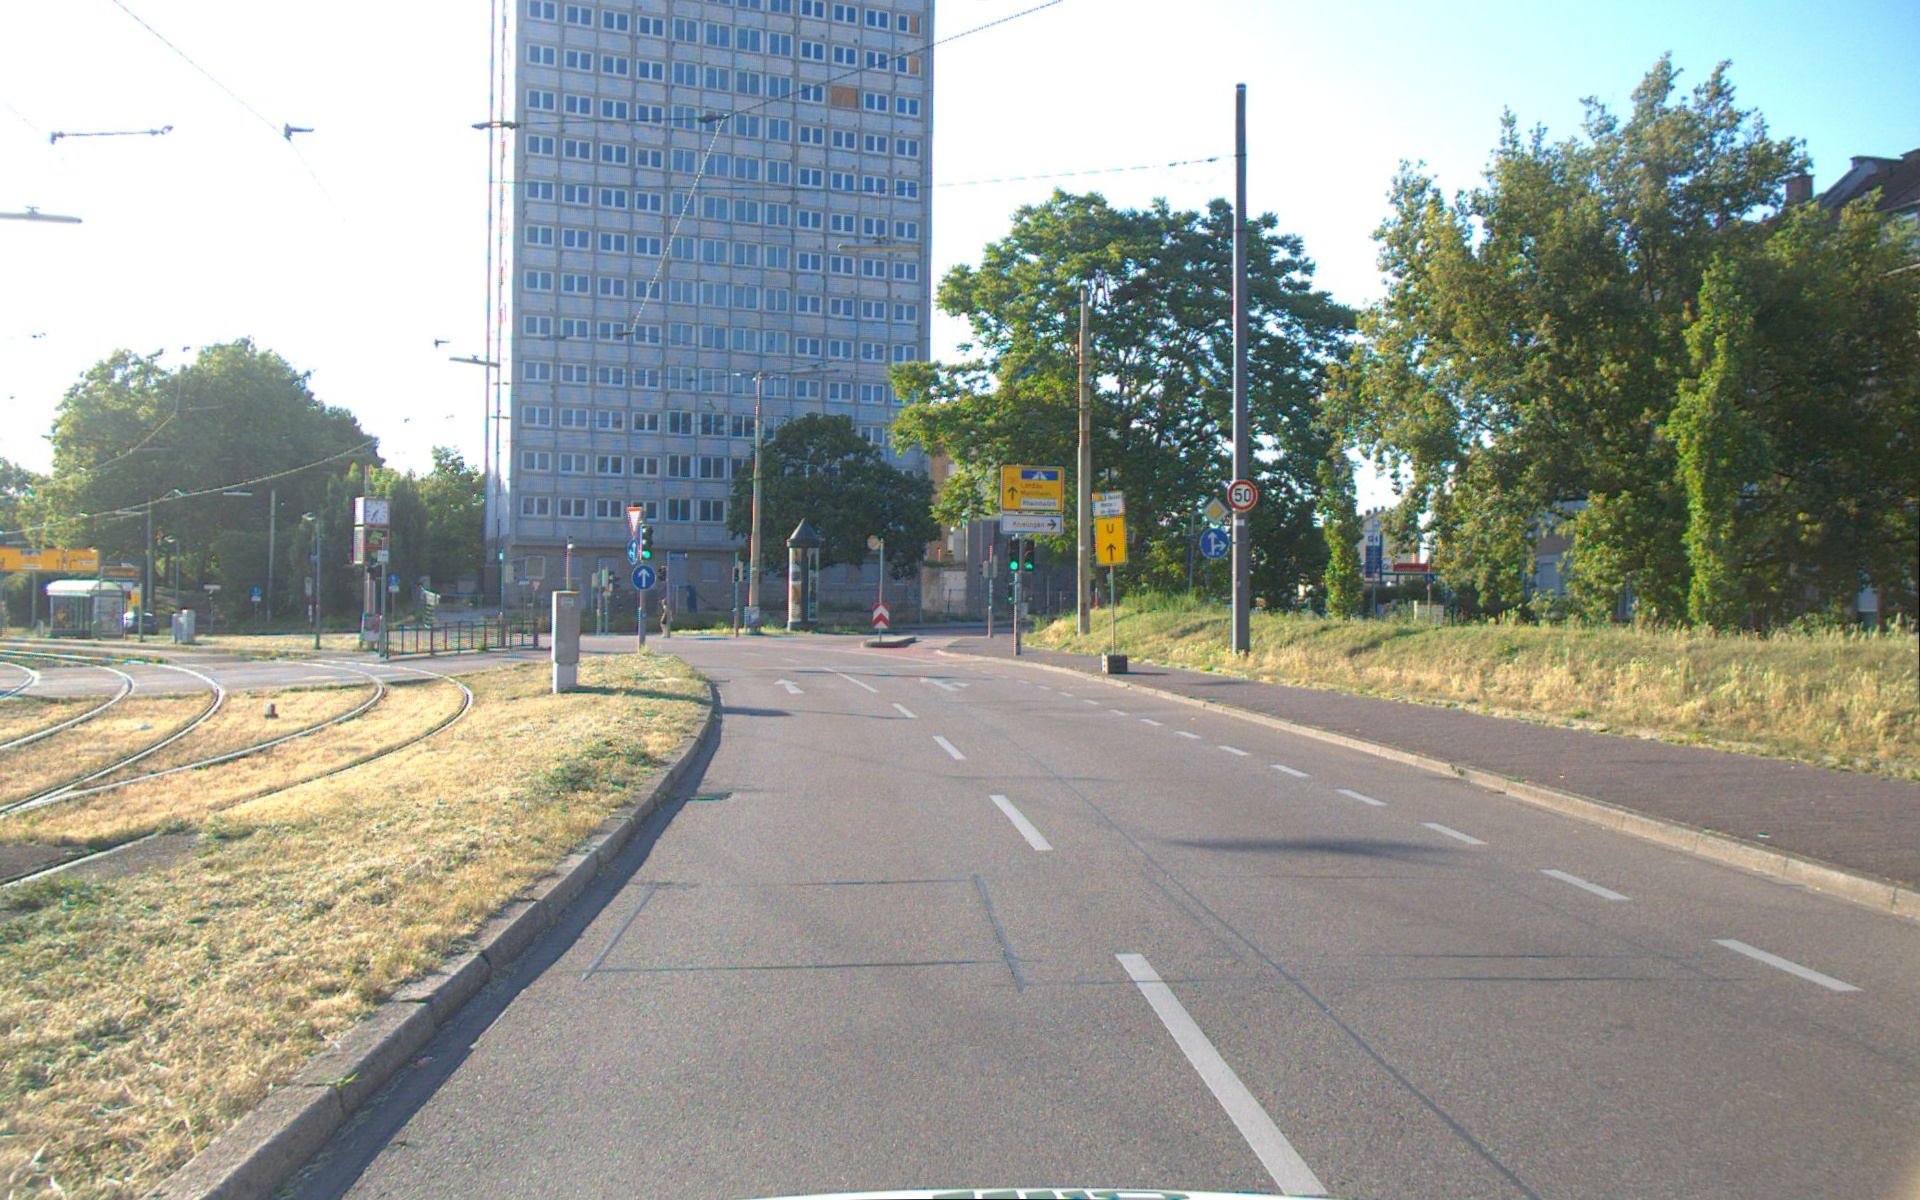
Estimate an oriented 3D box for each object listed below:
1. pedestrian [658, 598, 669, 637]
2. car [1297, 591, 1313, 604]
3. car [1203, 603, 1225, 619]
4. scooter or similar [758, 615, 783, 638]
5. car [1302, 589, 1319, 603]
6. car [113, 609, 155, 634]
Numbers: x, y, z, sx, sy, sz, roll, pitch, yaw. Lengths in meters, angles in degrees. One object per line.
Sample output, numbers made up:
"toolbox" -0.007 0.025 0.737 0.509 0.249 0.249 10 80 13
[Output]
"pedestrian" -12.439 0.736 69.435 0.428 1.640 0.628 0 -1 -11
"car" 43.894 -0.324 210.351 1.819 1.570 4.003 -1 0 14
"car" 25.419 1.064 165.587 1.833 1.484 3.790 -1 0 13
"scooter or similar" -10.040 1.385 87.812 1.278 1.190 0.325 0 0 -21
"car" 41.497 -0.479 196.029 1.819 1.570 3.882 -1 0 14
"car" -49.656 1.266 99.402 1.757 1.447 3.810 0 0 -34
